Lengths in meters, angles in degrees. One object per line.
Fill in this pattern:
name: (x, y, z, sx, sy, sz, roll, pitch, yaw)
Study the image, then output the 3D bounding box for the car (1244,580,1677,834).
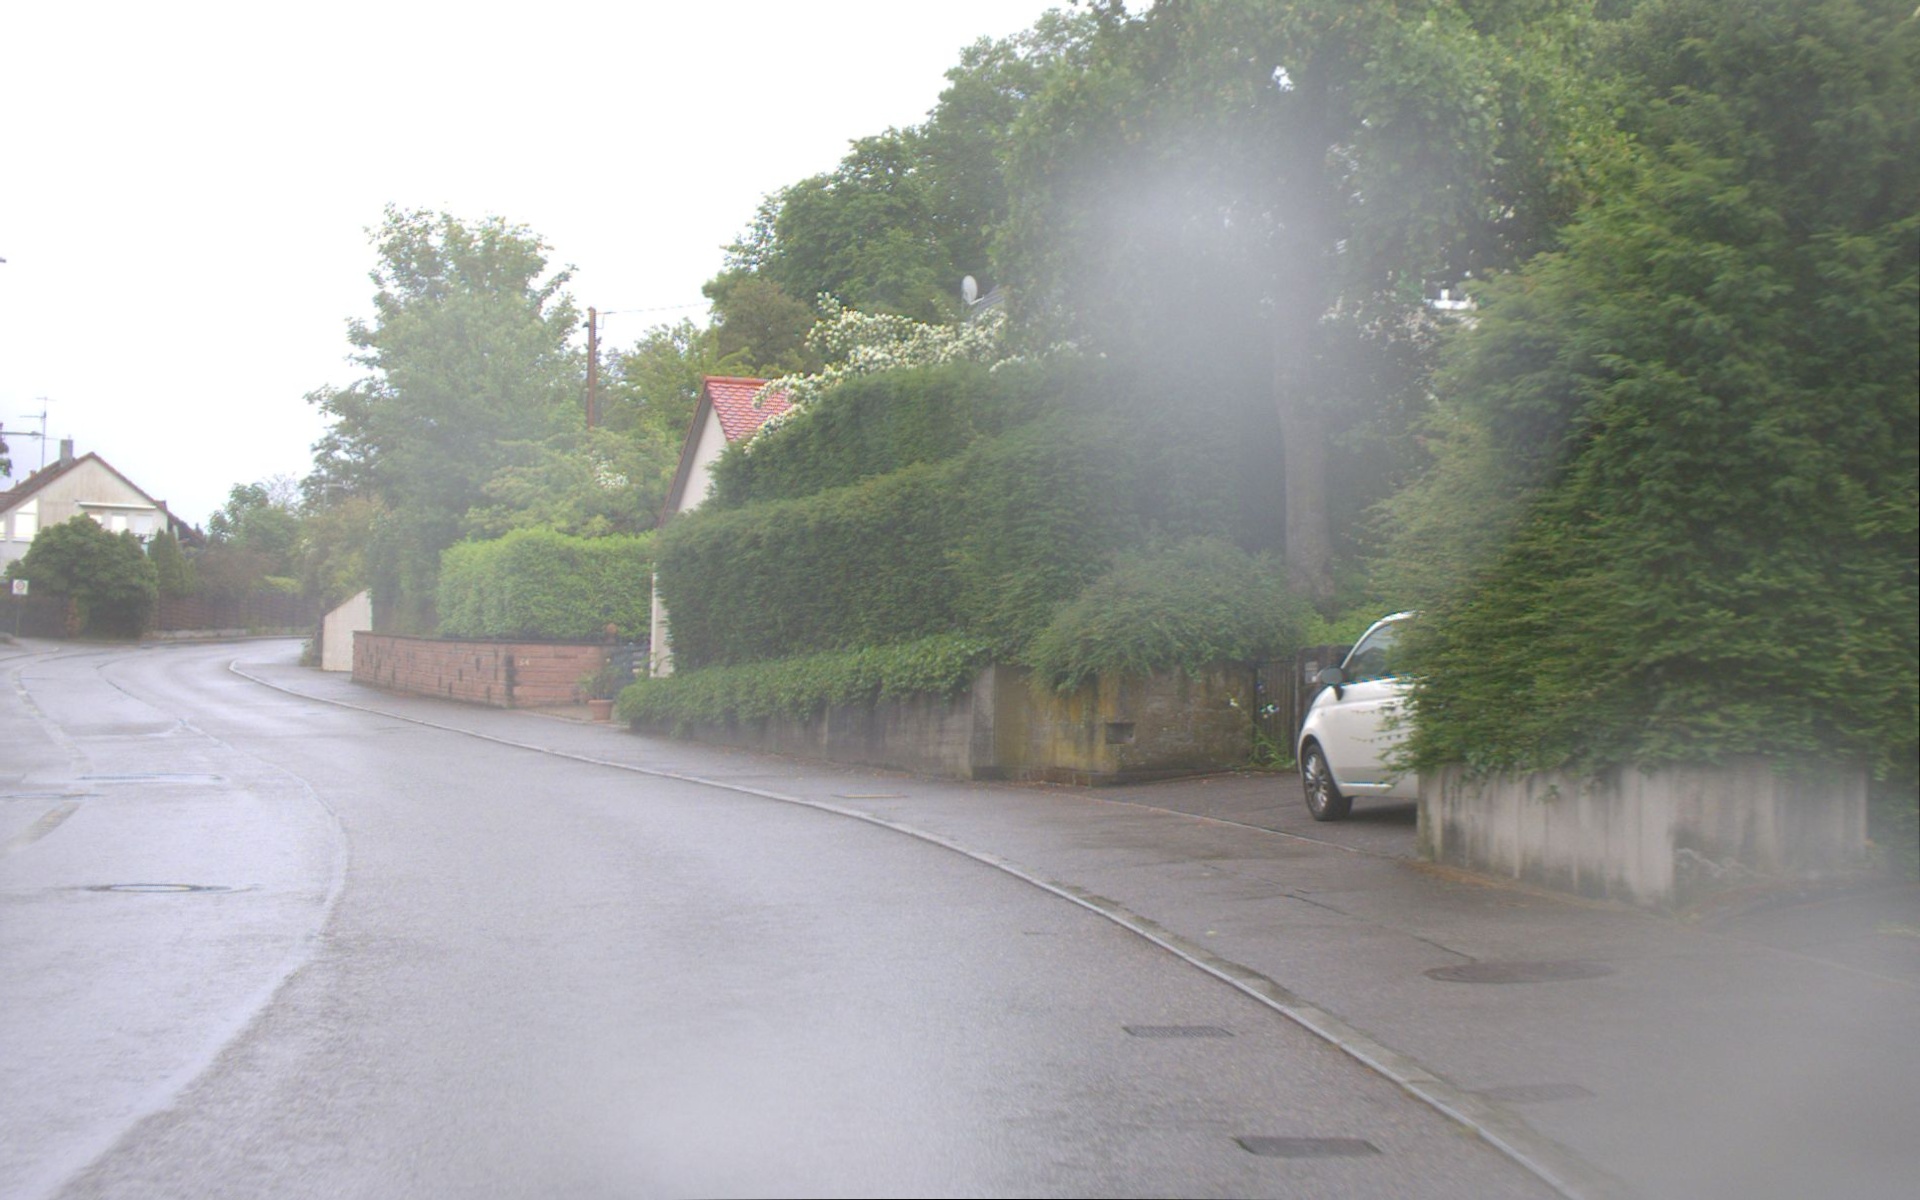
car: (3.390, 0.675, 23.999, 1.531, 1.530, 3.846, -4, 1, -15)
